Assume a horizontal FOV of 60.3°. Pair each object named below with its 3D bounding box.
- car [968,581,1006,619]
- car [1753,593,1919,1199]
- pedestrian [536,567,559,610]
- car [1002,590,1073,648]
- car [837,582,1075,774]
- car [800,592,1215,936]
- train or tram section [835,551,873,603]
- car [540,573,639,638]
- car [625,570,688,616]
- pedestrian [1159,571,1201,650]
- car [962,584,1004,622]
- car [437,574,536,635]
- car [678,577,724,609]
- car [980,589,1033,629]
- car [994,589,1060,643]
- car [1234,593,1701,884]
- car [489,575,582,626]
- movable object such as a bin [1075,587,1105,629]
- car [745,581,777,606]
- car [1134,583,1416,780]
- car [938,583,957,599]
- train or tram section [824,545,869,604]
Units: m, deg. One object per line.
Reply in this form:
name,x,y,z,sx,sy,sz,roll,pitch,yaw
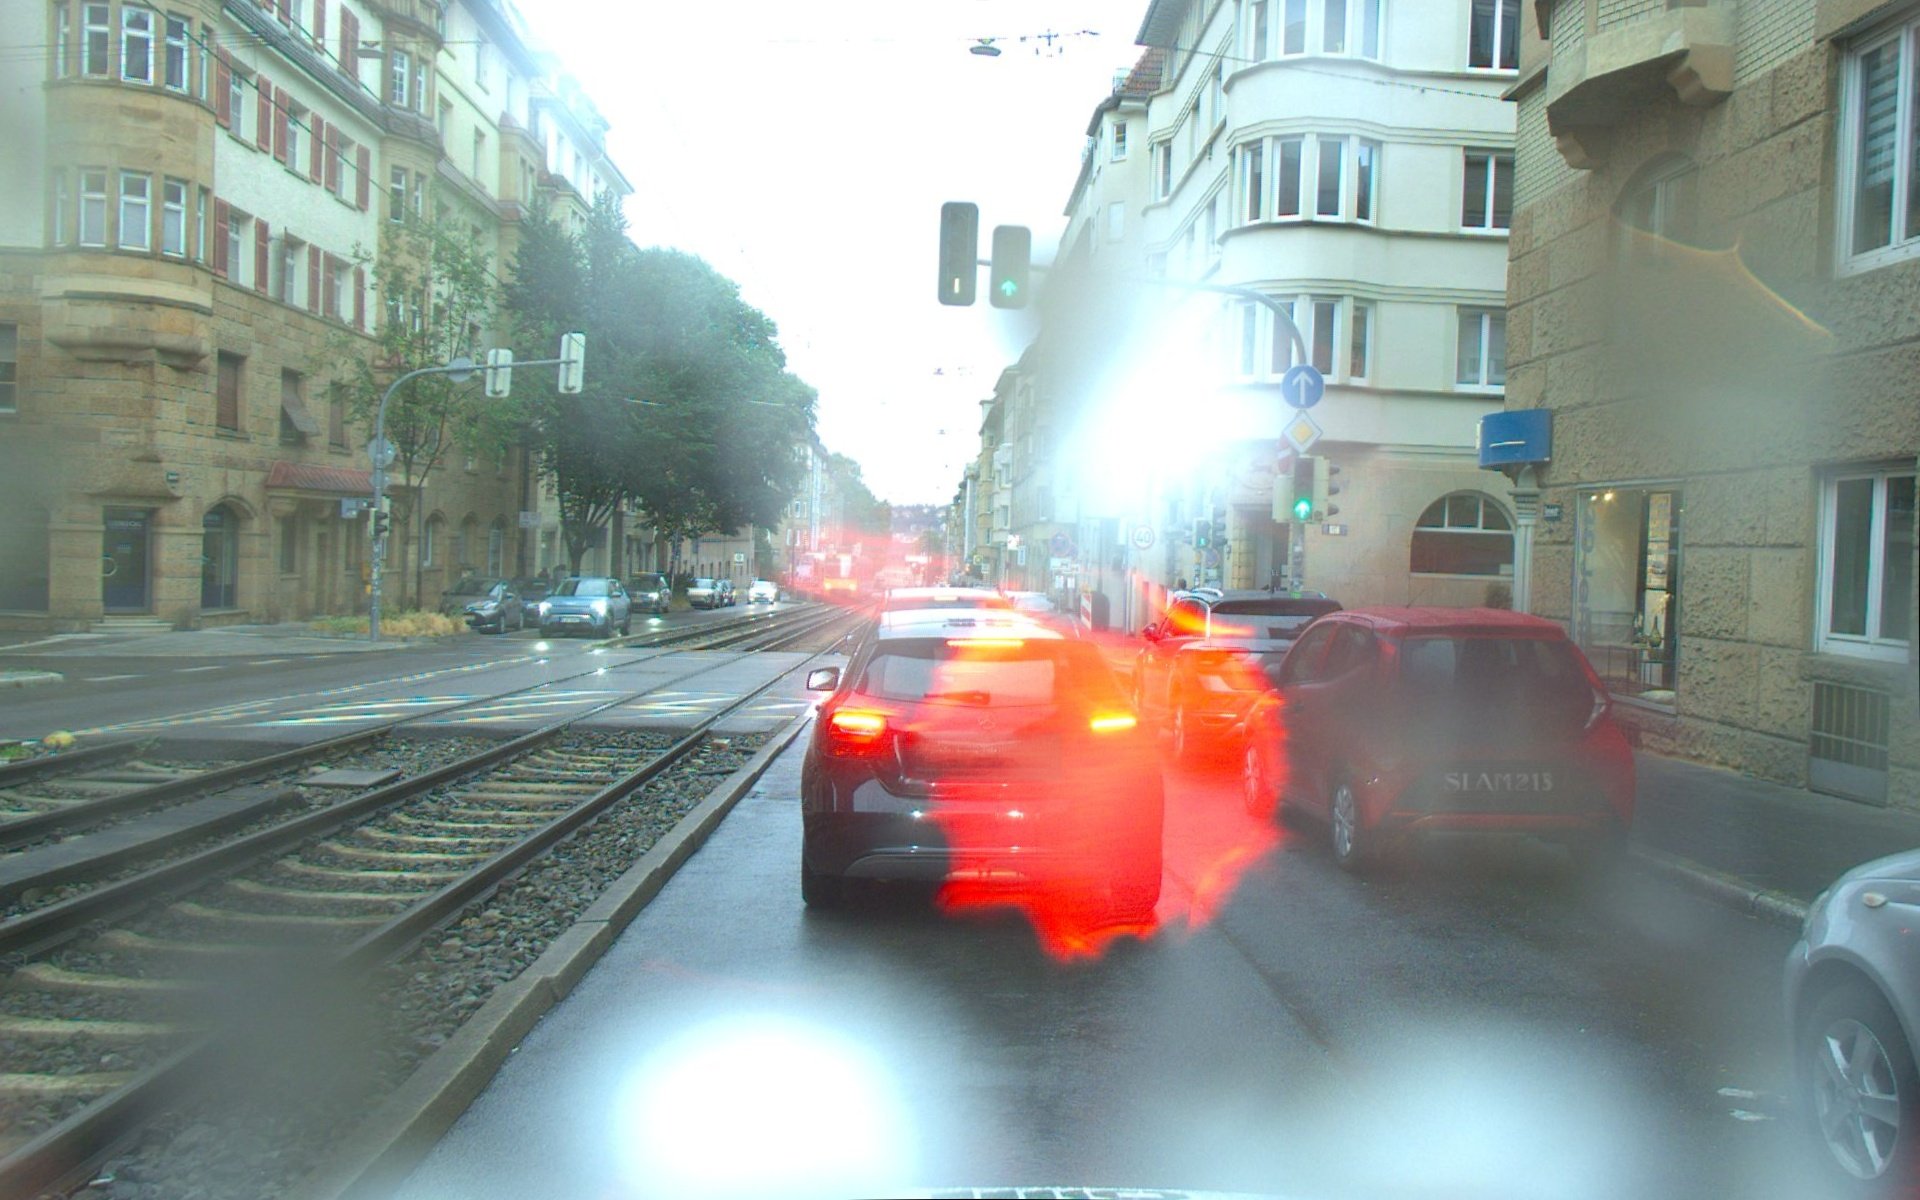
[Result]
car,1.302,0.013,80.646,1.742,1.780,4.548,1,0,0
car,3.090,0.752,3.022,1.562,1.513,3.521,0,0,-1
pedestrian,-16.558,-0.475,66.360,0.713,1.692,0.770,2,0,-2
car,2.002,0.487,43.579,1.675,1.435,4.817,1,0,1
car,-0.065,0.649,16.053,1.953,1.552,4.245,2,0,-1
car,0.184,0.719,9.234,1.797,1.478,3.901,1,0,-1
train or tram section,-8.995,-1.965,142.015,2.690,4.132,15.656,1,1,-2
car,-9.982,0.153,44.807,1.883,1.646,4.126,1,0,-3
car,-13.146,-0.336,71.849,1.914,1.772,4.777,4,1,-3
pedestrian,4.877,0.230,36.698,0.788,1.717,0.754,1,-1,-2
car,1.066,0.143,74.509,1.803,1.636,4.761,1,0,1
car,-12.949,0.122,45.427,1.656,1.556,4.173,1,0,-3
car,-13.918,-0.408,89.046,1.922,1.633,4.327,2,1,-2
car,1.716,0.335,61.896,1.753,1.410,4.393,1,0,-1
car,1.950,0.467,48.945,1.677,1.493,4.773,1,0,-1
car,2.978,0.729,10.481,1.672,1.478,3.530,2,0,-3
car,-13.011,0.026,50.982,1.745,1.485,4.976,1,0,-3
movable object such as a bin,4.692,0.302,59.798,0.960,1.494,1.272,1,0,-2
car,-12.937,-0.416,107.781,1.745,1.529,4.060,1,0,-3
car,2.829,0.672,15.751,1.830,1.576,3.990,2,0,-1
car,-1.270,-0.929,170.035,1.848,1.552,4.246,2,0,1
train or tram section,-8.533,-1.880,125.862,2.690,4.132,17.208,1,1,-2
